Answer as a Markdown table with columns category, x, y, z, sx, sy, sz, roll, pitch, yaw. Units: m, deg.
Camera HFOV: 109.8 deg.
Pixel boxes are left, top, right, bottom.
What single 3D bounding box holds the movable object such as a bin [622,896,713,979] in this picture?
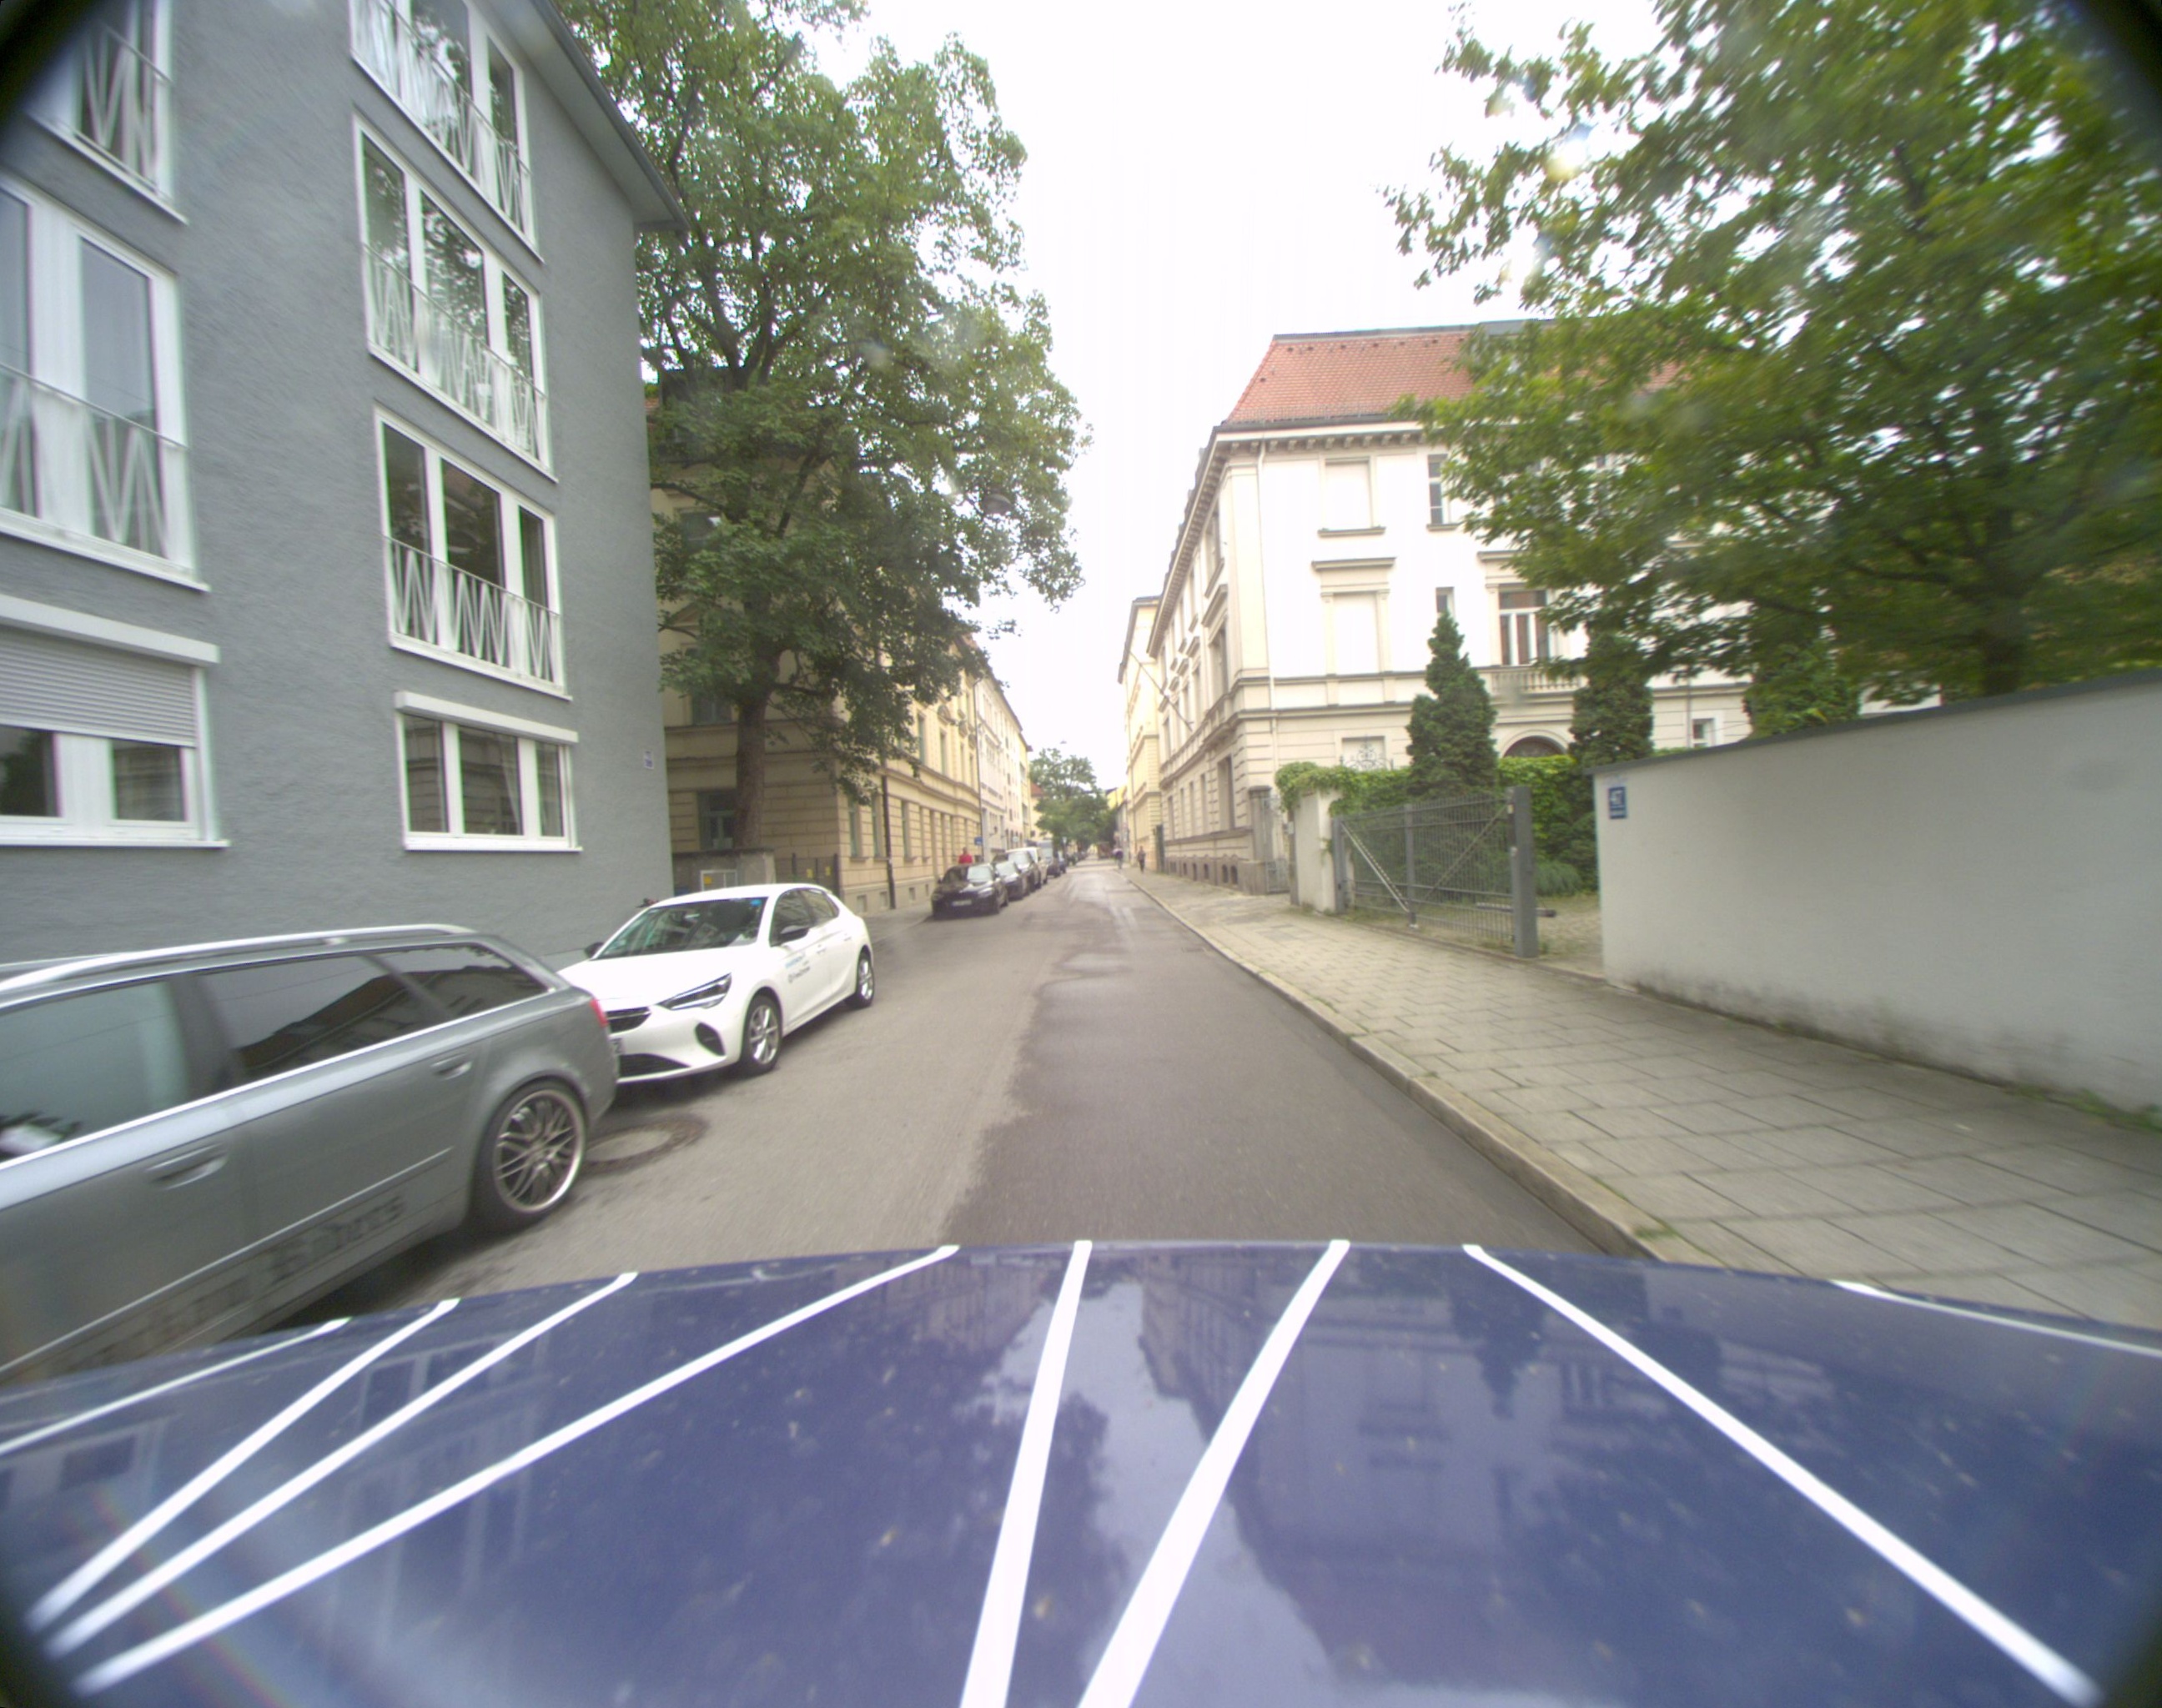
| category | x | y | z | sx | sy | sz | roll | pitch | yaw |
| --- | --- | --- | --- | --- | --- | --- | --- | --- | --- |
| movable object such as a bin | -7.765 | 1.545 | 14.335 | 1.001 | 1.352 | 1.053 | -5 | 1 | 0 |

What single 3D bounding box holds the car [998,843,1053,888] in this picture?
| category | x | y | z | sx | sy | sz | roll | pitch | yaw |
| --- | --- | --- | --- | --- | --- | --- | --- | --- | --- |
| car | -2.686 | 0.499 | 38.187 | 1.998 | 2.002 | 5.064 | -3 | 1 | 3 |

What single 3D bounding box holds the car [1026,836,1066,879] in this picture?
| category | x | y | z | sx | sy | sz | roll | pitch | yaw |
| --- | --- | --- | --- | --- | --- | --- | --- | --- | --- |
| car | -2.315 | 0.202 | 51.286 | 2.014 | 2.479 | 5.090 | -7 | 0 | 2 |

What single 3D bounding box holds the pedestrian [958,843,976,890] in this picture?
| category | x | y | z | sx | sy | sz | roll | pitch | yaw |
| --- | --- | --- | --- | --- | --- | --- | --- | --- | --- |
| pedestrian | -4.825 | 0.529 | 32.184 | 0.581 | 1.966 | 0.455 | -4 | 1 | 1 |

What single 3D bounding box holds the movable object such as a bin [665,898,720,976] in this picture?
| category | x | y | z | sx | sy | sz | roll | pitch | yaw |
| --- | --- | --- | --- | --- | --- | --- | --- | --- | --- |
| movable object such as a bin | -7.319 | 1.554 | 14.339 | 0.591 | 1.352 | 0.632 | -5 | 1 | 0 |

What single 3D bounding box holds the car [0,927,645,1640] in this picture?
| category | x | y | z | sx | sy | sz | roll | pitch | yaw |
| --- | --- | --- | --- | --- | --- | --- | --- | --- | --- |
| car | -3.450 | 1.220 | 1.947 | 1.794 | 1.393 | 4.485 | -7 | 0 | 2 |

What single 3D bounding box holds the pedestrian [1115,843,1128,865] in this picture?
| category | x | y | z | sx | sy | sz | roll | pitch | yaw |
| --- | --- | --- | --- | --- | --- | --- | --- | --- | --- |
| pedestrian | 3.344 | 0.022 | 62.849 | 0.920 | 1.742 | 1.066 | -3 | 1 | 1 |

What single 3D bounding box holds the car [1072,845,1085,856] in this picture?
| category | x | y | z | sx | sy | sz | roll | pitch | yaw |
| --- | --- | --- | --- | --- | --- | --- | --- | --- | --- |
| car | -0.468 | -0.685 | 148.786 | 2.014 | 1.969 | 5.090 | -7 | 0 | 2 |

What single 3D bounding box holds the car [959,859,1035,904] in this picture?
| category | x | y | z | sx | sy | sz | roll | pitch | yaw |
| --- | --- | --- | --- | --- | --- | --- | --- | --- | --- |
| car | -2.858 | 0.910 | 26.858 | 1.998 | 1.306 | 4.593 | -3 | 0 | 2 |

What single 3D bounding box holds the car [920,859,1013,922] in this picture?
| category | x | y | z | sx | sy | sz | roll | pitch | yaw |
| --- | --- | --- | --- | --- | --- | --- | --- | --- | --- |
| car | -3.123 | 0.953 | 21.643 | 1.860 | 1.366 | 4.509 | -5 | 1 | 0 |

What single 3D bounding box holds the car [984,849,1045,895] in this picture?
| category | x | y | z | sx | sy | sz | roll | pitch | yaw |
| --- | --- | --- | --- | --- | --- | --- | --- | --- | --- |
| car | -2.726 | 0.698 | 32.169 | 1.998 | 1.677 | 4.510 | -3 | 1 | 2 |

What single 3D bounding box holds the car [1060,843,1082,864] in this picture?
| category | x | y | z | sx | sy | sz | roll | pitch | yaw |
| --- | --- | --- | --- | --- | --- | --- | --- | --- | --- |
| car | -1.213 | -0.094 | 94.308 | 2.242 | 2.247 | 5.090 | -7 | 0 | 2 |

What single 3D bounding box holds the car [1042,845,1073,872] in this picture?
| category | x | y | z | sx | sy | sz | roll | pitch | yaw |
| --- | --- | --- | --- | --- | --- | --- | --- | --- | --- |
| car | -1.952 | 0.350 | 64.704 | 2.014 | 1.989 | 5.090 | -7 | 0 | 2 |

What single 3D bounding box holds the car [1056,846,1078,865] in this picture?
| category | x | y | z | sx | sy | sz | roll | pitch | yaw |
| --- | --- | --- | --- | --- | --- | --- | --- | --- | --- |
| car | -1.563 | 0.164 | 87.848 | 2.014 | 1.914 | 5.090 | -7 | 0 | 2 |

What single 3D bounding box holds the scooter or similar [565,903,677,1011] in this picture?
| category | x | y | z | sx | sy | sz | roll | pitch | yaw |
| --- | --- | --- | --- | --- | --- | --- | --- | --- | --- |
| scooter or similar | -5.886 | 1.284 | 9.815 | 0.506 | 1.167 | 1.376 | -2 | 1 | 2 |

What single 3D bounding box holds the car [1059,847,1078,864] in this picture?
| category | x | y | z | sx | sy | sz | roll | pitch | yaw |
| --- | --- | --- | --- | --- | --- | --- | --- | --- | --- |
| car | -1.674 | 0.229 | 102.284 | 2.014 | 1.969 | 5.090 | -7 | 0 | 2 |

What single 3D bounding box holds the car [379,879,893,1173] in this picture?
| category | x | y | z | sx | sy | sz | roll | pitch | yaw |
| --- | --- | --- | --- | --- | --- | --- | --- | --- | --- |
| car | -3.271 | 1.133 | 6.827 | 1.773 | 1.437 | 4.344 | -7 | 0 | 2 |

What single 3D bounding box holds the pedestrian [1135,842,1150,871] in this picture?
| category | x | y | z | sx | sy | sz | roll | pitch | yaw |
| --- | --- | --- | --- | --- | --- | --- | --- | --- | --- |
| pedestrian | 3.815 | 0.161 | 47.000 | 0.766 | 1.742 | 0.970 | -3 | 1 | 1 |
